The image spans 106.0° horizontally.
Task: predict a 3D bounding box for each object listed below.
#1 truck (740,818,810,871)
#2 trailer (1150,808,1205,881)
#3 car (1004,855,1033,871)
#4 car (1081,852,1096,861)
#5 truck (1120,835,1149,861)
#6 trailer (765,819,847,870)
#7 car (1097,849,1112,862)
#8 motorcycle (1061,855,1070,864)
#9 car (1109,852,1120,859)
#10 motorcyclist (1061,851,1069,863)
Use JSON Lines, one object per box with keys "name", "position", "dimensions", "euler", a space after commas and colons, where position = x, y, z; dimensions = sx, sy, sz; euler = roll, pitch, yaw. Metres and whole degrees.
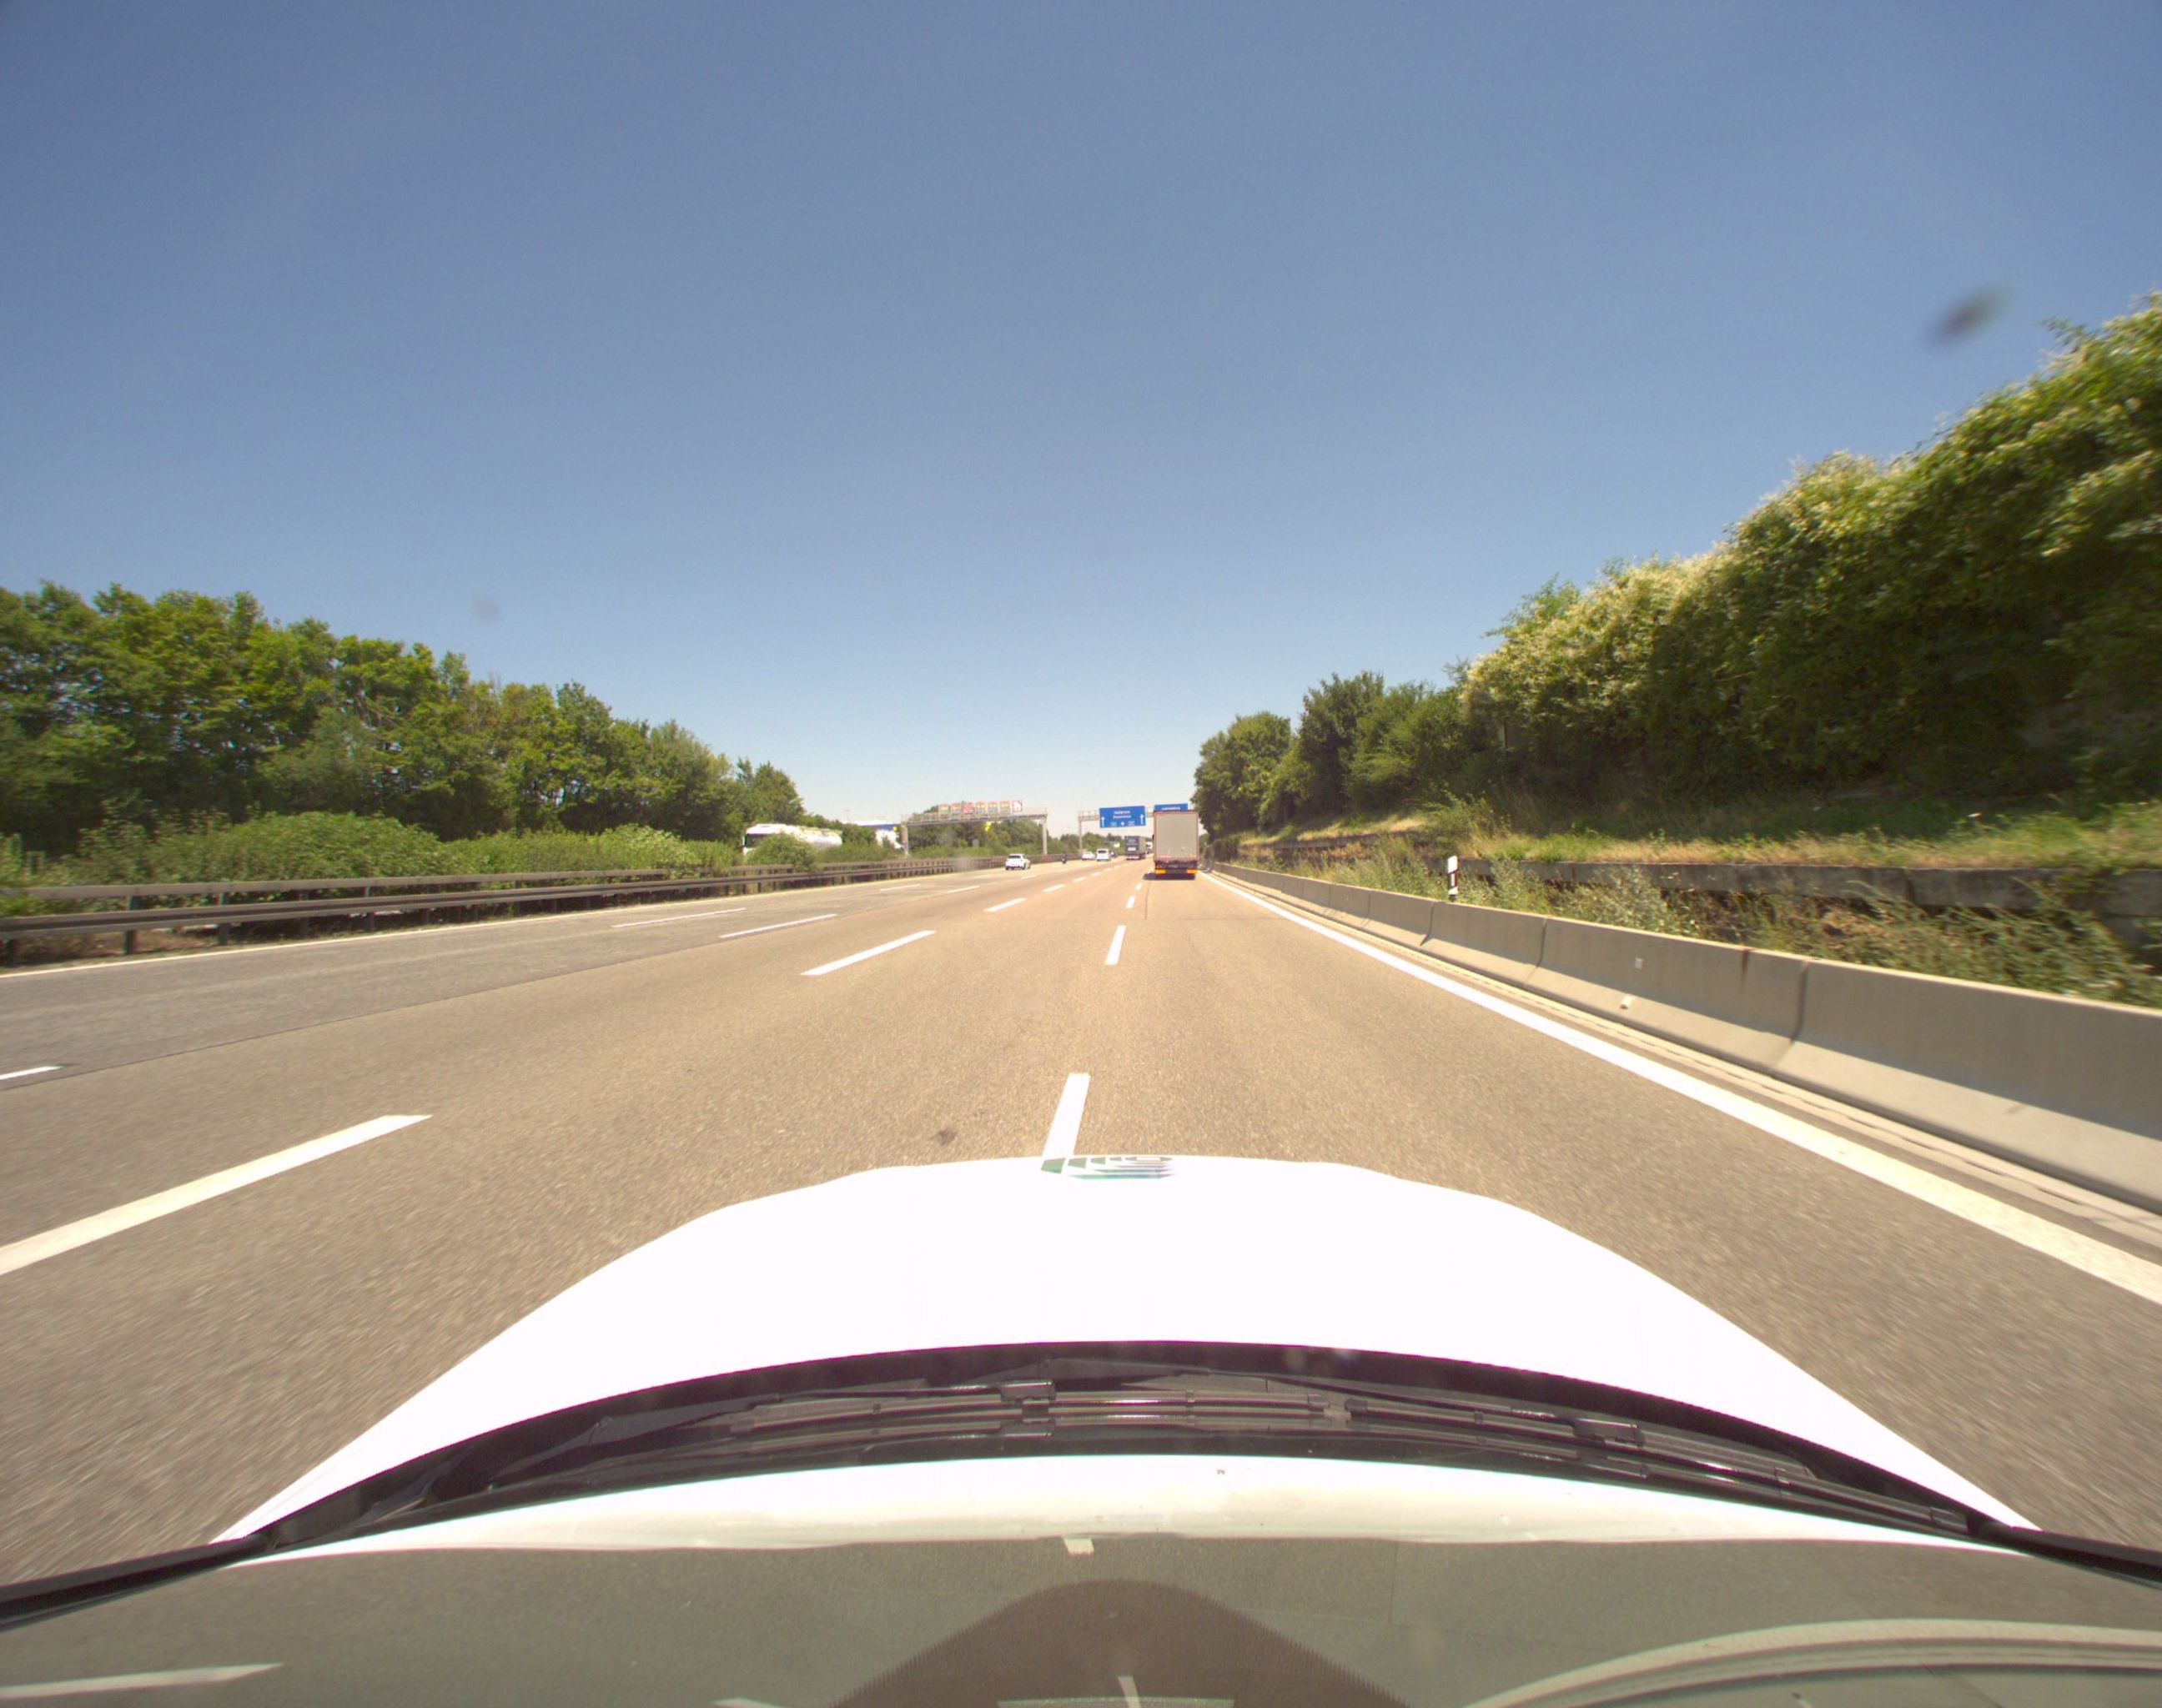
{"name": "truck", "position": [-23.356, -0.724, 62.496], "dimensions": [2.682, 3.888, 5.754], "euler": [0, 0, 6]}
{"name": "trailer", "position": [6.029, -0.645, 51.748], "dimensions": [2.913, 4.015, 12.059], "euler": [-2, 1, 6]}
{"name": "car", "position": [-5.717, 0.787, 75.425], "dimensions": [1.772, 1.440, 4.678], "euler": [-1, 0, 7]}
{"name": "car", "position": [1.250, 0.407, 134.689], "dimensions": [1.866, 1.440, 5.136], "euler": [-1, -1, 8]}
{"name": "truck", "position": [9.502, -1.003, 142.332], "dimensions": [3.725, 4.270, 14.532], "euler": [0, 1, 9]}
{"name": "trailer", "position": [-22.783, -0.771, 68.096], "dimensions": [2.676, 3.888, 9.750], "euler": [0, 0, 6]}
{"name": "car", "position": [3.686, 0.207, 126.386], "dimensions": [1.920, 1.851, 4.702], "euler": [-2, -1, 7]}
{"name": "motorcycle", "position": [-2.039, 0.684, 104.999], "dimensions": [0.909, 1.089, 2.851], "euler": [-1, -1, 3]}
{"name": "car", "position": [6.914, 0.367, 168.420], "dimensions": [1.747, 1.409, 5.049], "euler": [-2, -1, 7]}
{"name": "motorcyclist", "position": [-2.044, 0.408, 104.965], "dimensions": [0.889, 1.597, 1.300], "euler": [-1, -1, 3]}
